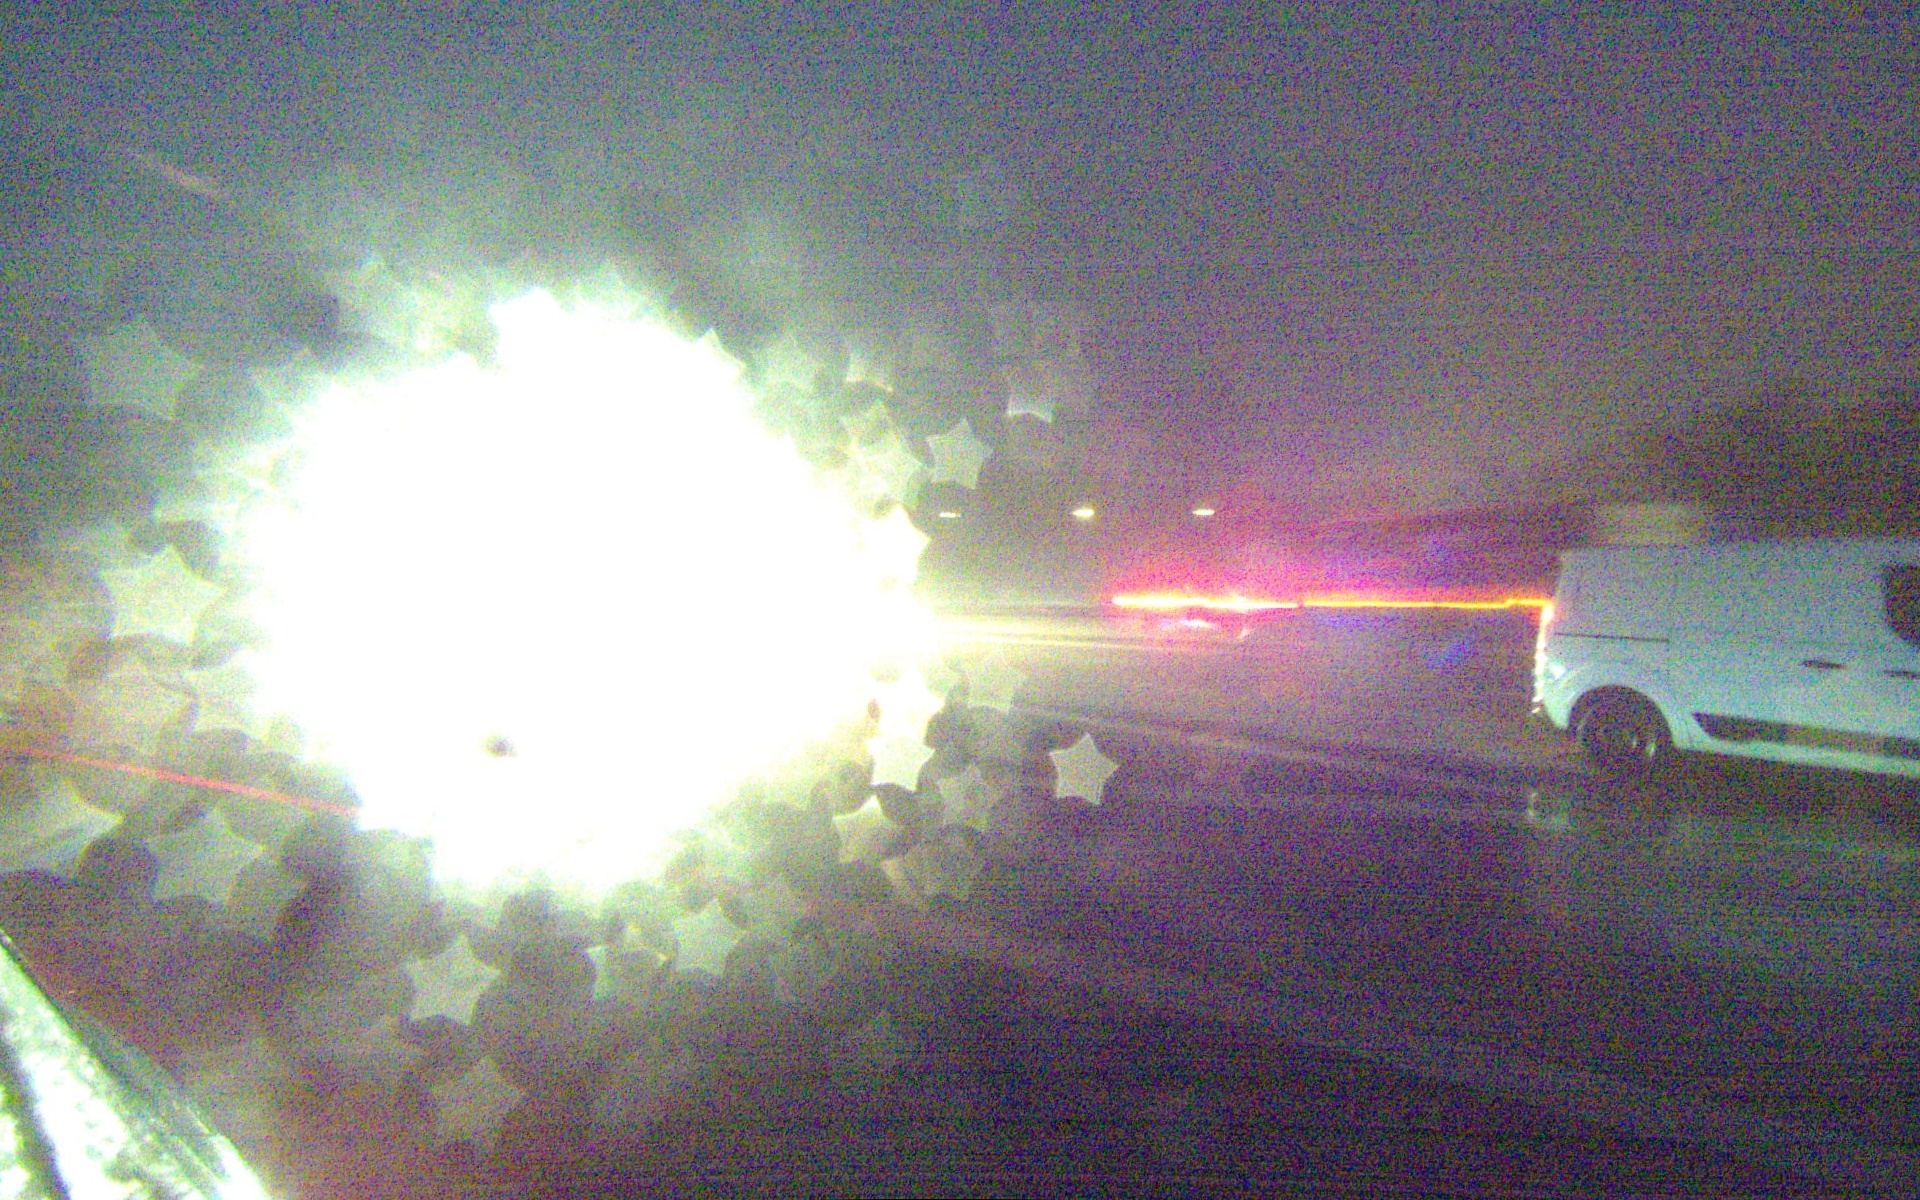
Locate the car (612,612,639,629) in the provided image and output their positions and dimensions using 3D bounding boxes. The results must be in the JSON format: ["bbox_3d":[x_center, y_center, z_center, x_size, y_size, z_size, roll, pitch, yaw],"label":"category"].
[{"bbox_3d":[-33.118,1.970,100.096,1.889,1.608,4.013,-1,0,-28],"label":"car"}]

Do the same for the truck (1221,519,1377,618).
[{"bbox_3d":[13.936,-1.233,41.984,2.616,3.758,5.721,-3,1,-29],"label":"truck"}]

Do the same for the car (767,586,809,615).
[{"bbox_3d":[-13.300,0.034,78.081,1.966,2.028,4.013,-3,1,-28],"label":"car"}]

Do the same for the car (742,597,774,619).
[{"bbox_3d":[-20.331,0.806,101.921,1.966,2.028,4.013,-3,1,-28],"label":"car"}]

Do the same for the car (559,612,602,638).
[{"bbox_3d":[-25.431,1.662,67.685,1.890,1.608,4.011,-1,0,-33],"label":"car"}]

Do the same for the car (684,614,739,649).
[{"bbox_3d":[-12.462,1.537,50.643,1.698,1.608,4.013,-1,0,-28],"label":"car"}]

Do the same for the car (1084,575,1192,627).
[{"bbox_3d":[6.799,0.040,39.069,1.966,1.785,4.012,-4,1,-29],"label":"car"}]

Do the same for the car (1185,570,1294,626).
[{"bbox_3d":[11.182,-0.082,40.712,1.966,2.028,4.013,-3,1,-26],"label":"car"}]

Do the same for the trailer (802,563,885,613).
[{"bbox_3d":[-10.846,-1.005,92.131,2.731,4.059,14.060,-3,1,-26],"label":"trailer"}]

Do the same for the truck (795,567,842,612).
[{"bbox_3d":[-13.752,-0.979,98.037,2.731,4.059,5.767,-3,1,-26],"label":"truck"}]

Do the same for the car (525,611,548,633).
[{"bbox_3d":[-43.761,2.244,104.549,1.966,2.028,4.013,-3,1,-24],"label":"car"}]

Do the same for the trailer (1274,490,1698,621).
[{"bbox_3d":[17.444,-1.295,35.742,2.616,3.758,13.986,-3,1,-29],"label":"trailer"}]

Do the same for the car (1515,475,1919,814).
[{"bbox_3d":[6.611,0.267,6.529,1.966,2.029,5.033,0,-1,-29],"label":"car"}]
